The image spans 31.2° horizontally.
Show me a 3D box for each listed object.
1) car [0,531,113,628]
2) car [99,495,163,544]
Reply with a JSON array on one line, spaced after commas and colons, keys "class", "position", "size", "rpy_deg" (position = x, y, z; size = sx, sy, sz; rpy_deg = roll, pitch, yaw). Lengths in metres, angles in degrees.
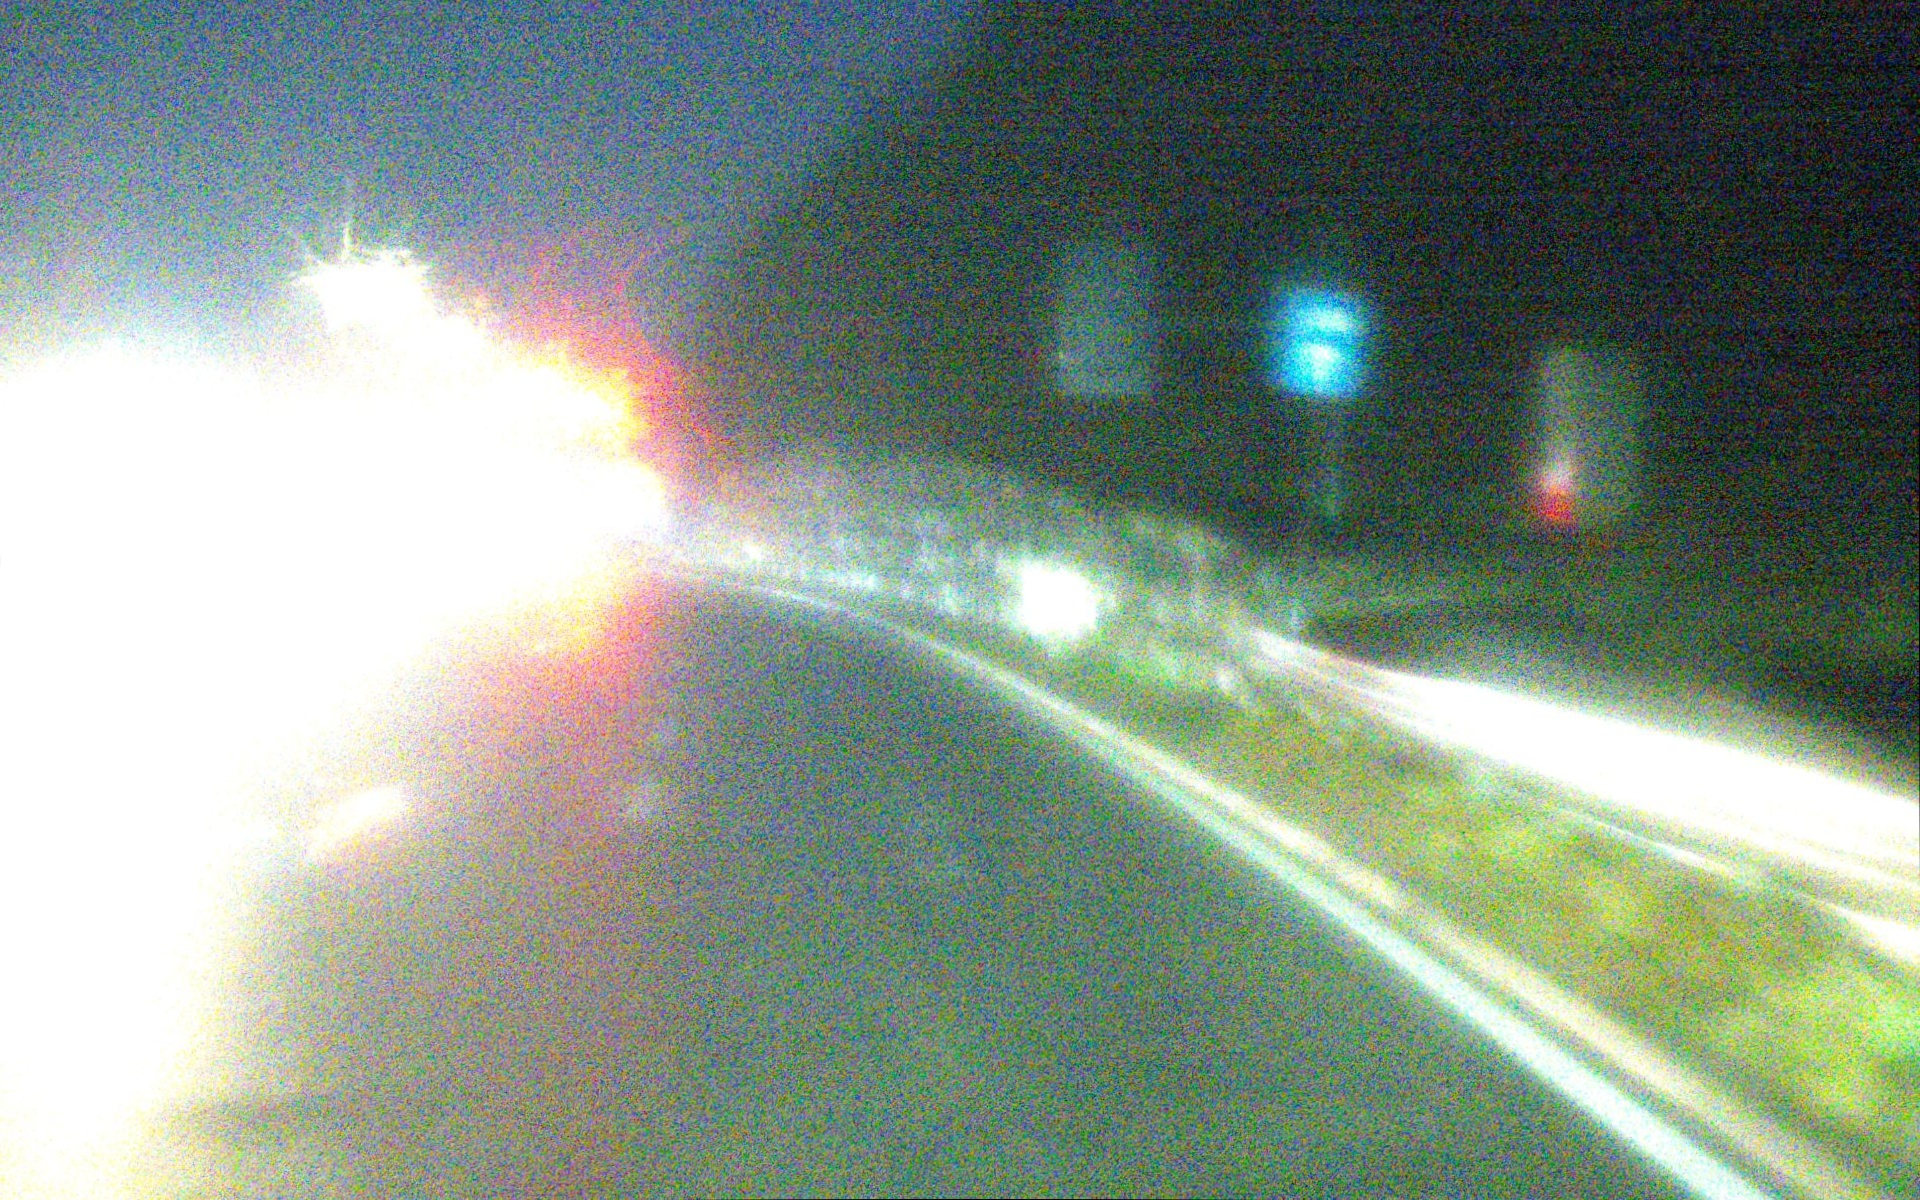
[{"class": "car", "position": [-15.690, -0.377, 59.197], "size": [1.880, 1.595, 3.901], "rpy_deg": [1, 1, -10]}, {"class": "car", "position": [-25.253, -2.434, 104.707], "size": [1.832, 1.437, 4.492], "rpy_deg": [1, 1, -13]}]
